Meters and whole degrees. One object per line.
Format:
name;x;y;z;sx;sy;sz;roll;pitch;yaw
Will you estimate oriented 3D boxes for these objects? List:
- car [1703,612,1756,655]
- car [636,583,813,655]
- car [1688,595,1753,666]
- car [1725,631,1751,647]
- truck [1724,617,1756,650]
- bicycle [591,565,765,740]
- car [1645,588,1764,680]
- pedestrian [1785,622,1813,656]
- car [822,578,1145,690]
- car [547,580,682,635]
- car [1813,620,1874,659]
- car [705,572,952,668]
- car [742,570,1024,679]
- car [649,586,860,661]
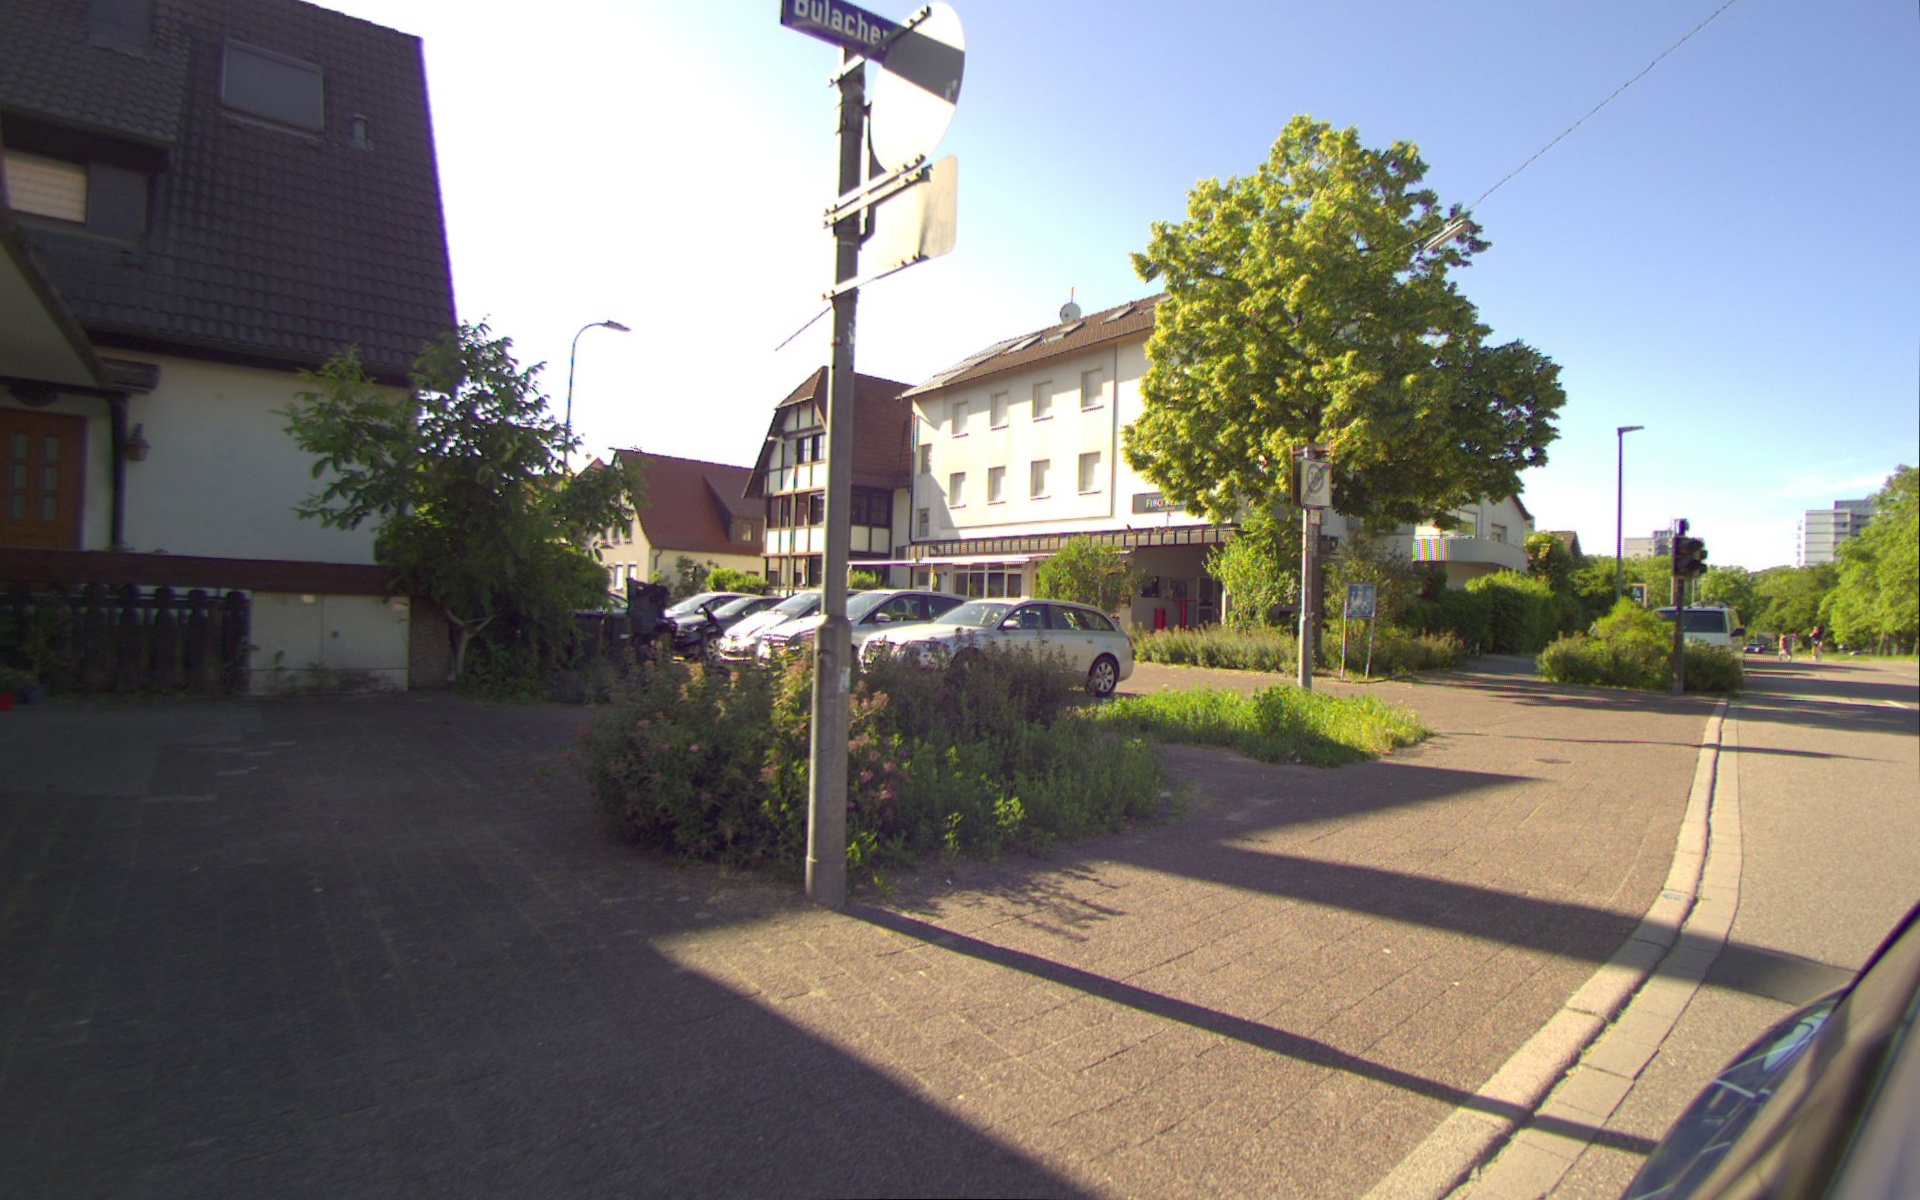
car;35.749;1.537;47.007;1.853;1.872;4.497;-1;-2;38
car;-5.592;0.469;24.224;3.736;1.493;1.602;4;-1;-35
car;30.880;1.201;41.214;1.951;2.678;5.155;1;-1;36
car;84.915;4.237;110.473;1.992;1.617;4.510;2;0;40
truck;118.257;5.098;153.331;3.587;4.628;9.881;2;-1;39
bicycle;-2.380;0.380;8.422;0.688;1.300;1.740;2;0;-41
car;19.074;0.842;25.847;1.993;2.105;4.507;1;-1;42
pedestrian;41.736;1.951;50.361;0.619;1.606;0.837;1;4;-33
car;0.480;0.547;15.282;4.716;1.440;1.997;4;-2;-40
car;-10.576;0.232;31.082;3.553;1.438;1.459;4;0;-39
car;48.070;2.087;55.155;1.954;1.943;4.520;1;0;35
car;-2.462;0.413;19.386;4.316;1.572;1.714;4;-2;-33
car;-1.219;0.428;16.869;4.316;1.536;1.715;4;-1;-33
car;-4.319;0.522;21.517;4.034;1.367;1.650;4;-3;-35
